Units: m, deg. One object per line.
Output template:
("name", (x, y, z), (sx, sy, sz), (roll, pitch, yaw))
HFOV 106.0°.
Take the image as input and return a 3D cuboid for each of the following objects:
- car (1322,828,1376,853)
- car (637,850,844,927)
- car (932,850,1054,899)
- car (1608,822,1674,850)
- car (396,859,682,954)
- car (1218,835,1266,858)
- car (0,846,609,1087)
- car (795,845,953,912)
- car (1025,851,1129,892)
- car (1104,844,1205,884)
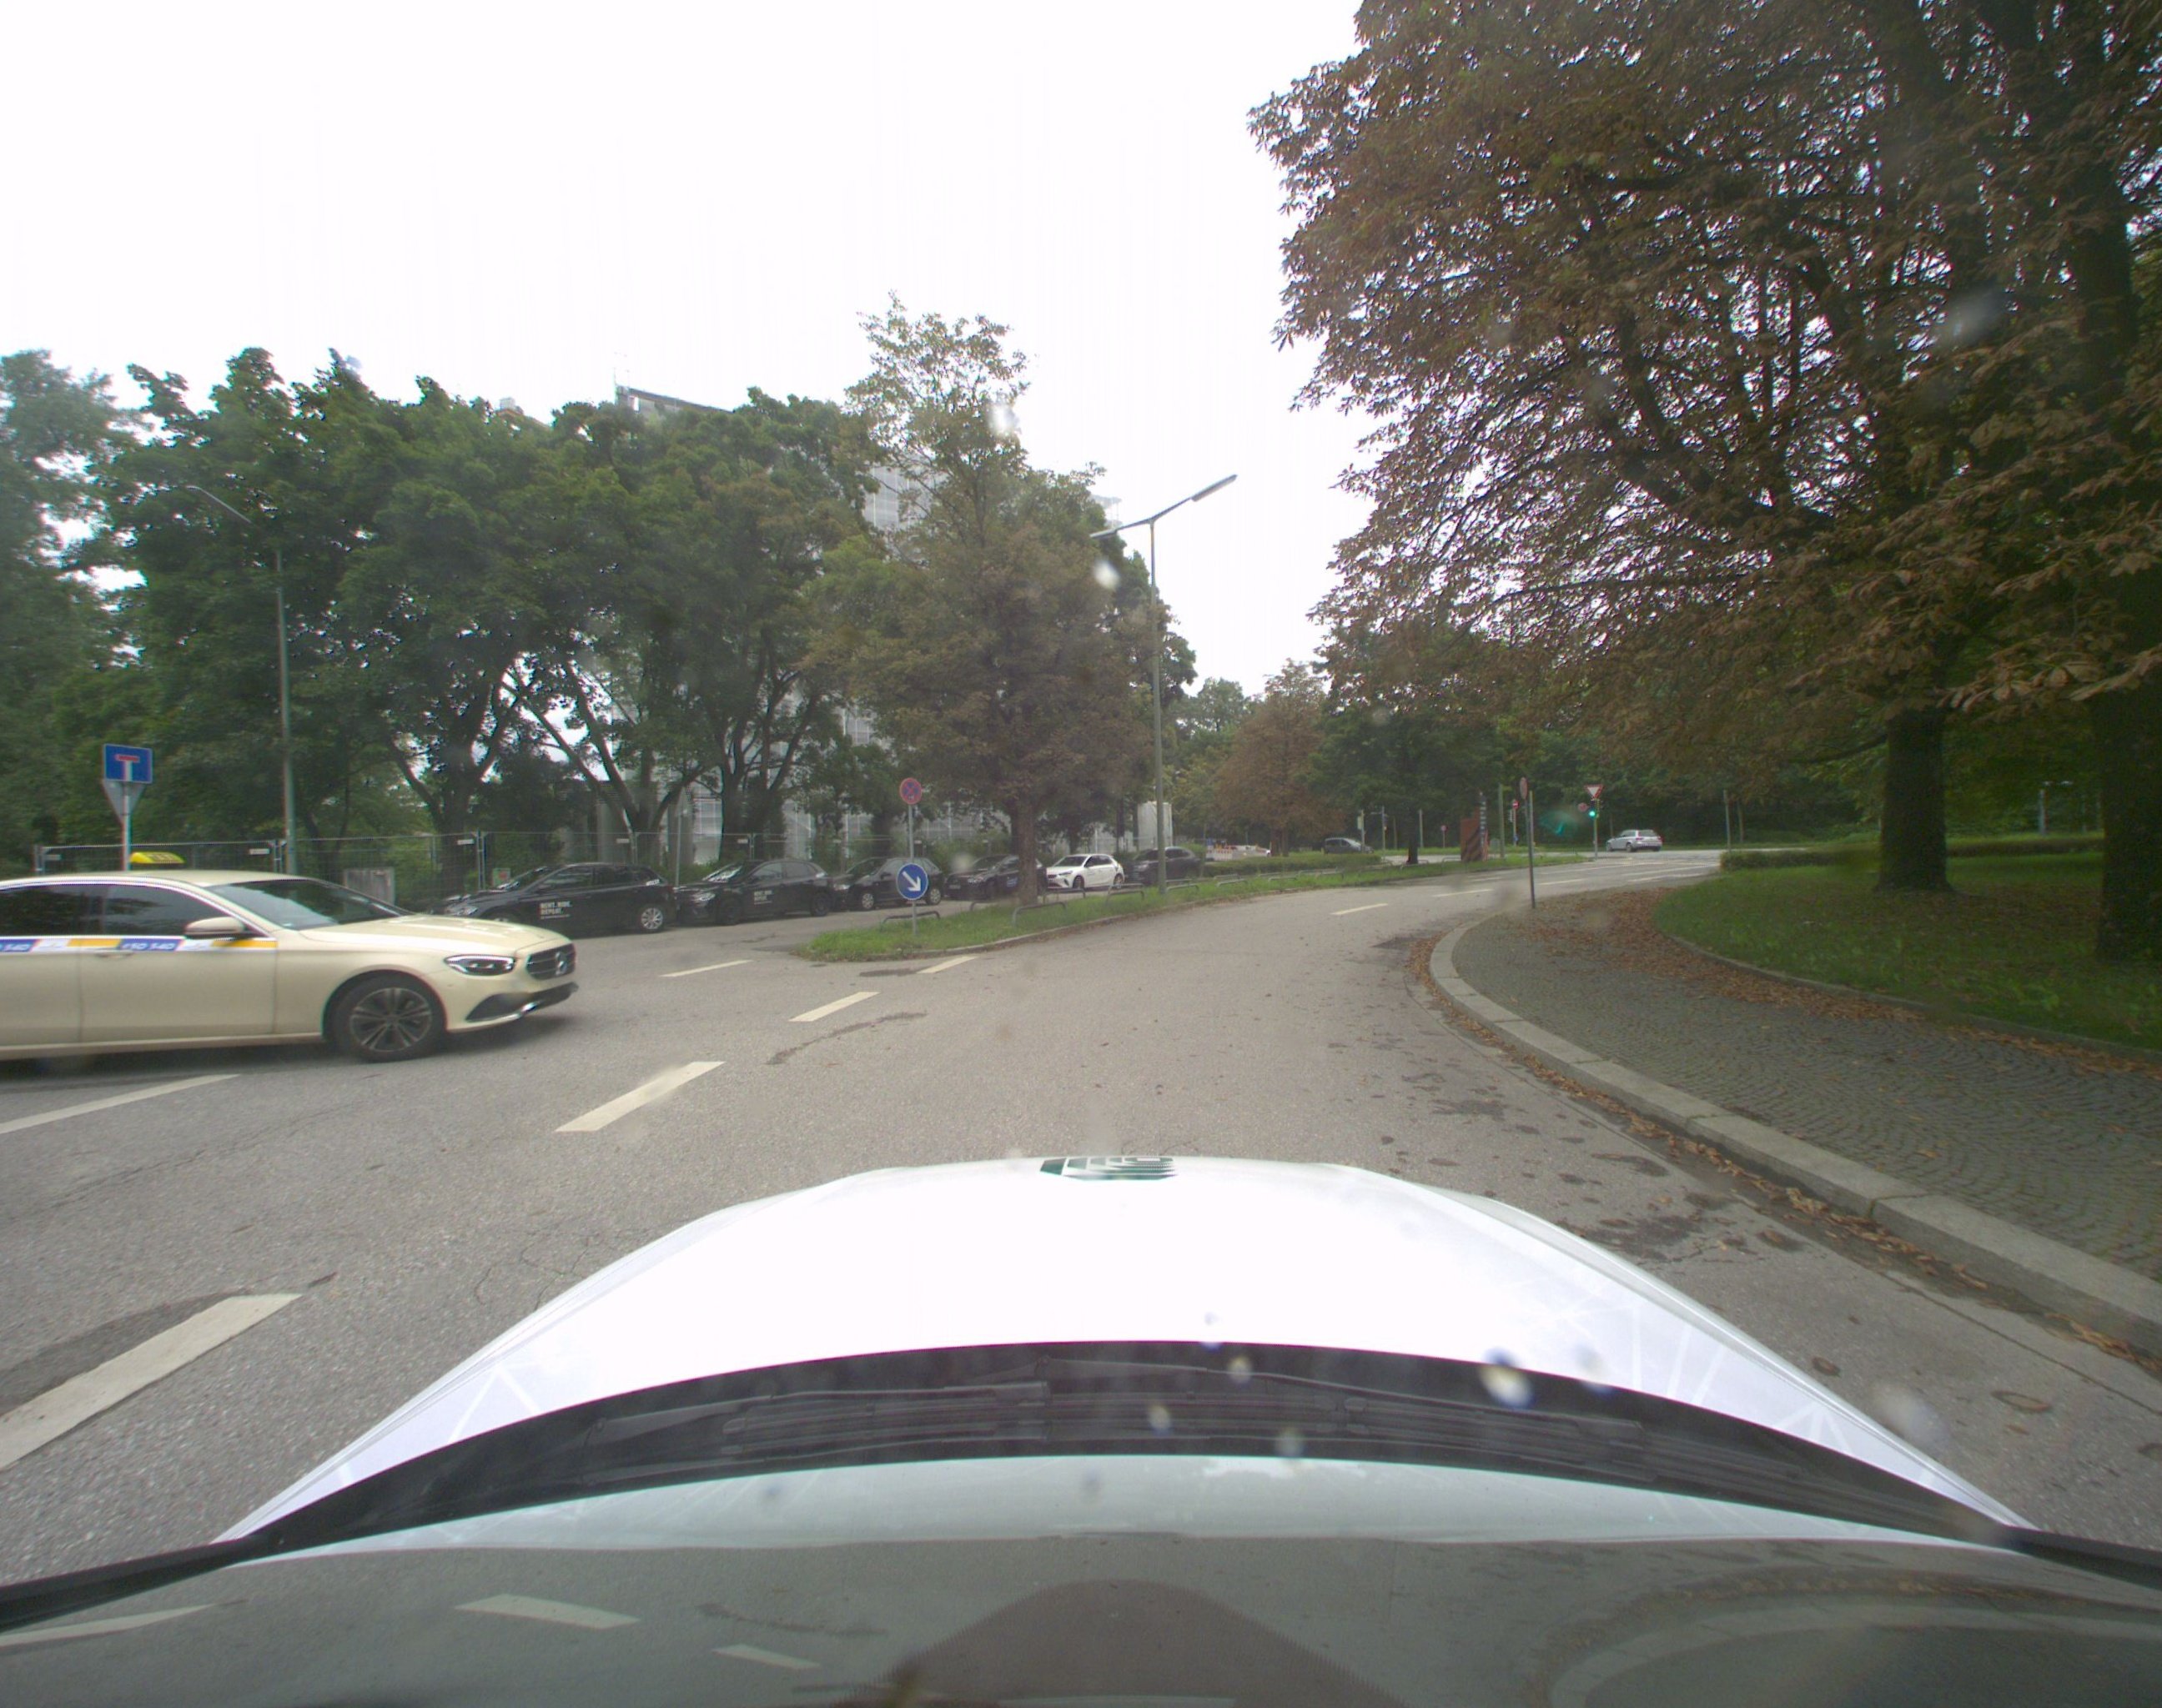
("car", (22.946, -1.114, 69.792), (2.009, 2.013, 3.955), (-2, 0, -37))
("car", (-7.833, 0.734, 19.093), (1.974, 1.541, 4.026), (-2, 0, 33))
("car", (-2.839, 0.654, 27.095), (1.816, 1.461, 4.031), (-2, -1, 33))
("car", (36.475, -1.142, 53.194), (1.981, 1.750, 4.136), (-2, 0, 10))
("car", (-10.117, 0.870, 15.502), (1.974, 1.432, 4.068), (0, 1, 34))
("car", (15.073, -0.715, 76.266), (2.009, 2.013, 4.110), (-2, 0, -37))
("car", (-6.829, 0.781, 6.544), (4.839, 1.545, 1.887), (-2, 0, -11))
("car", (-5.750, 0.638, 23.045), (1.974, 1.706, 4.026), (-2, -1, 33))
("car", (-0.075, 0.646, 31.055), (1.778, 1.383, 4.245), (-2, -1, 36))
("car", (3.184, 0.431, 34.633), (1.868, 1.606, 4.422), (-2, -2, 44))
